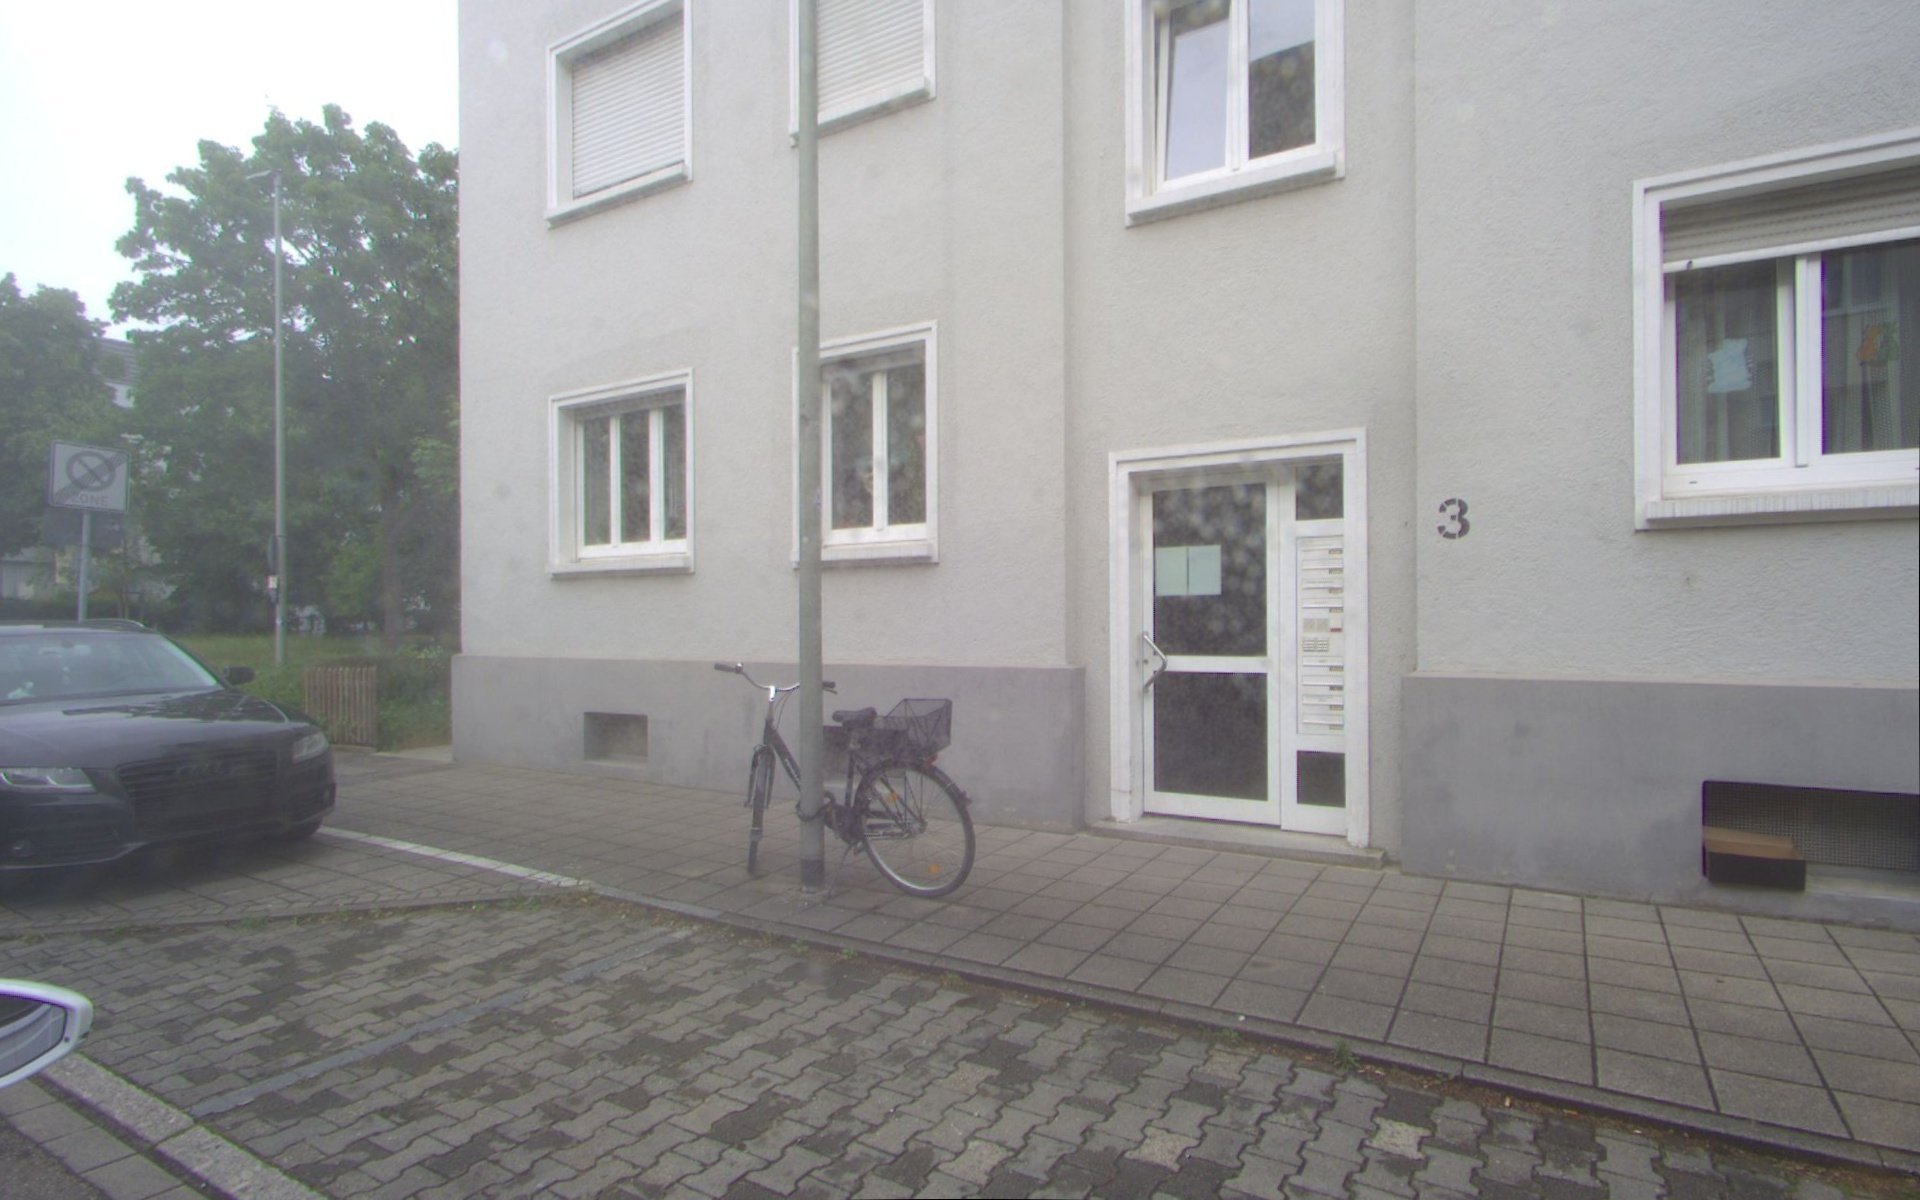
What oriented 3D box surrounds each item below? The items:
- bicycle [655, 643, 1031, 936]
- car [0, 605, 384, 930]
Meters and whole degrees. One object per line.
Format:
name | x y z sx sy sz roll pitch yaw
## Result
bicycle | -0.635 0.863 5.180 1.868 1.216 0.747 0 1 32
car | -5.983 0.792 6.482 4.655 1.482 1.857 -1 0 30
